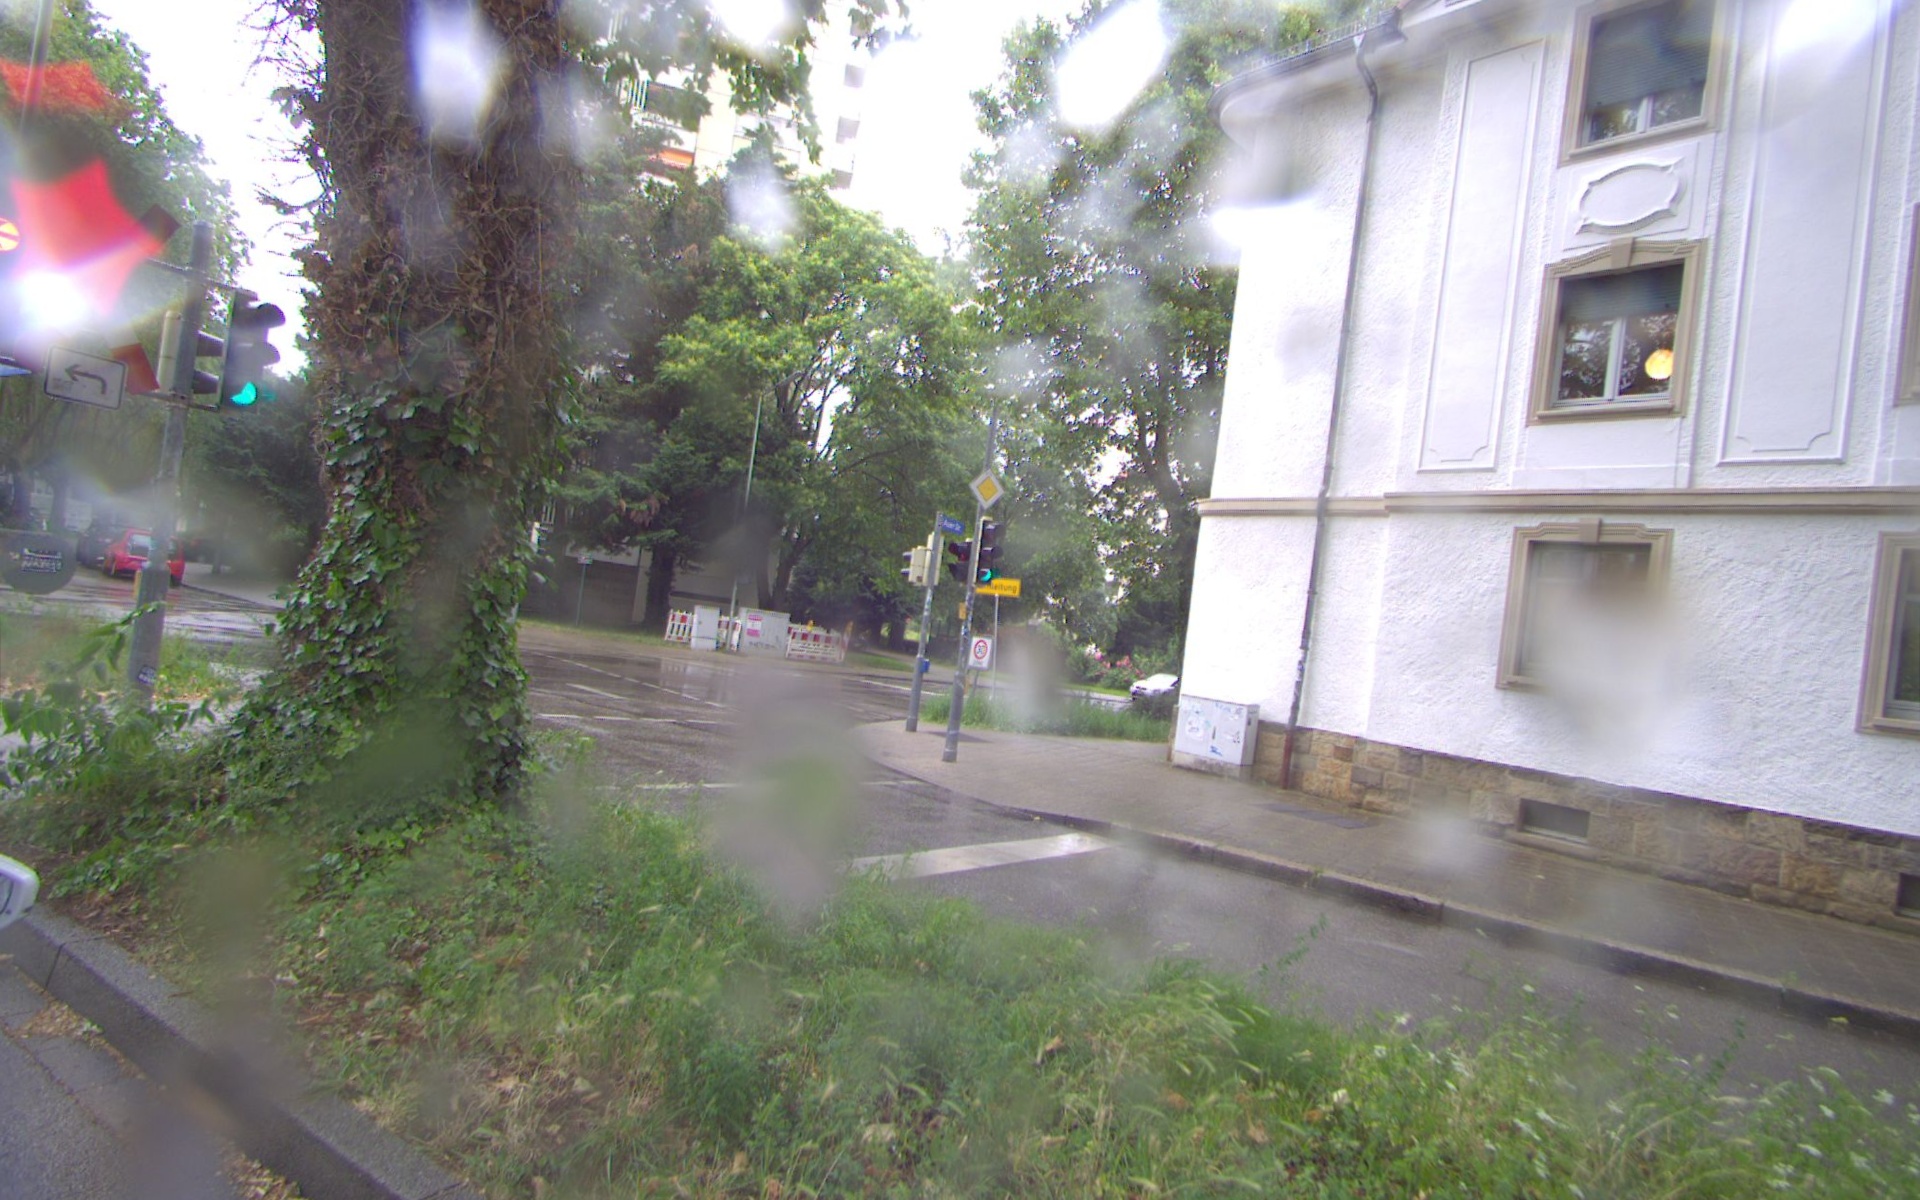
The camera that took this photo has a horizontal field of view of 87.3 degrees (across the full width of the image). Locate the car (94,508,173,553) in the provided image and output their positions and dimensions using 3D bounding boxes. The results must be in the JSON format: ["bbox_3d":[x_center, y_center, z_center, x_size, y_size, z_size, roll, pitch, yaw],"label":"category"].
[{"bbox_3d":[-69.651,-5.843,84.808,4.683,2.982,2.001,7,-1,1],"label":"car"}]

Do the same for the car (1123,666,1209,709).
[{"bbox_3d":[9.411,4.004,45.805,1.829,1.473,3.979,6,-3,45],"label":"car"}]

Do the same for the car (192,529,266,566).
[{"bbox_3d":[-53.086,-3.792,73.093,1.843,1.983,3.861,6,-2,36],"label":"car"}]

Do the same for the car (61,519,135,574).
[{"bbox_3d":[-32.982,-2.080,38.451,1.779,1.747,3.951,9,-2,-44],"label":"car"}]

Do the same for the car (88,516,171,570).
[{"bbox_3d":[-28.097,-1.939,33.997,1.780,1.363,3.879,10,-2,-44],"label":"car"}]

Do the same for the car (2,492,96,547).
[{"bbox_3d":[-61.112,-5.393,67.528,4.680,2.982,2.043,7,-1,12],"label":"car"}]

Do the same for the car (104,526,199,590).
[{"bbox_3d":[-24.830,-1.310,30.841,1.788,1.515,3.950,10,-2,-44],"label":"car"}]

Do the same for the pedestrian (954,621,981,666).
[{"bbox_3d":[0.350,1.923,44.443,0.675,1.863,0.707,8,-1,-44],"label":"pedestrian"}]

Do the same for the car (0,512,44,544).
[{"bbox_3d":[-56.205,-4.379,58.624,1.974,1.565,3.980,6,-3,44],"label":"car"}]
